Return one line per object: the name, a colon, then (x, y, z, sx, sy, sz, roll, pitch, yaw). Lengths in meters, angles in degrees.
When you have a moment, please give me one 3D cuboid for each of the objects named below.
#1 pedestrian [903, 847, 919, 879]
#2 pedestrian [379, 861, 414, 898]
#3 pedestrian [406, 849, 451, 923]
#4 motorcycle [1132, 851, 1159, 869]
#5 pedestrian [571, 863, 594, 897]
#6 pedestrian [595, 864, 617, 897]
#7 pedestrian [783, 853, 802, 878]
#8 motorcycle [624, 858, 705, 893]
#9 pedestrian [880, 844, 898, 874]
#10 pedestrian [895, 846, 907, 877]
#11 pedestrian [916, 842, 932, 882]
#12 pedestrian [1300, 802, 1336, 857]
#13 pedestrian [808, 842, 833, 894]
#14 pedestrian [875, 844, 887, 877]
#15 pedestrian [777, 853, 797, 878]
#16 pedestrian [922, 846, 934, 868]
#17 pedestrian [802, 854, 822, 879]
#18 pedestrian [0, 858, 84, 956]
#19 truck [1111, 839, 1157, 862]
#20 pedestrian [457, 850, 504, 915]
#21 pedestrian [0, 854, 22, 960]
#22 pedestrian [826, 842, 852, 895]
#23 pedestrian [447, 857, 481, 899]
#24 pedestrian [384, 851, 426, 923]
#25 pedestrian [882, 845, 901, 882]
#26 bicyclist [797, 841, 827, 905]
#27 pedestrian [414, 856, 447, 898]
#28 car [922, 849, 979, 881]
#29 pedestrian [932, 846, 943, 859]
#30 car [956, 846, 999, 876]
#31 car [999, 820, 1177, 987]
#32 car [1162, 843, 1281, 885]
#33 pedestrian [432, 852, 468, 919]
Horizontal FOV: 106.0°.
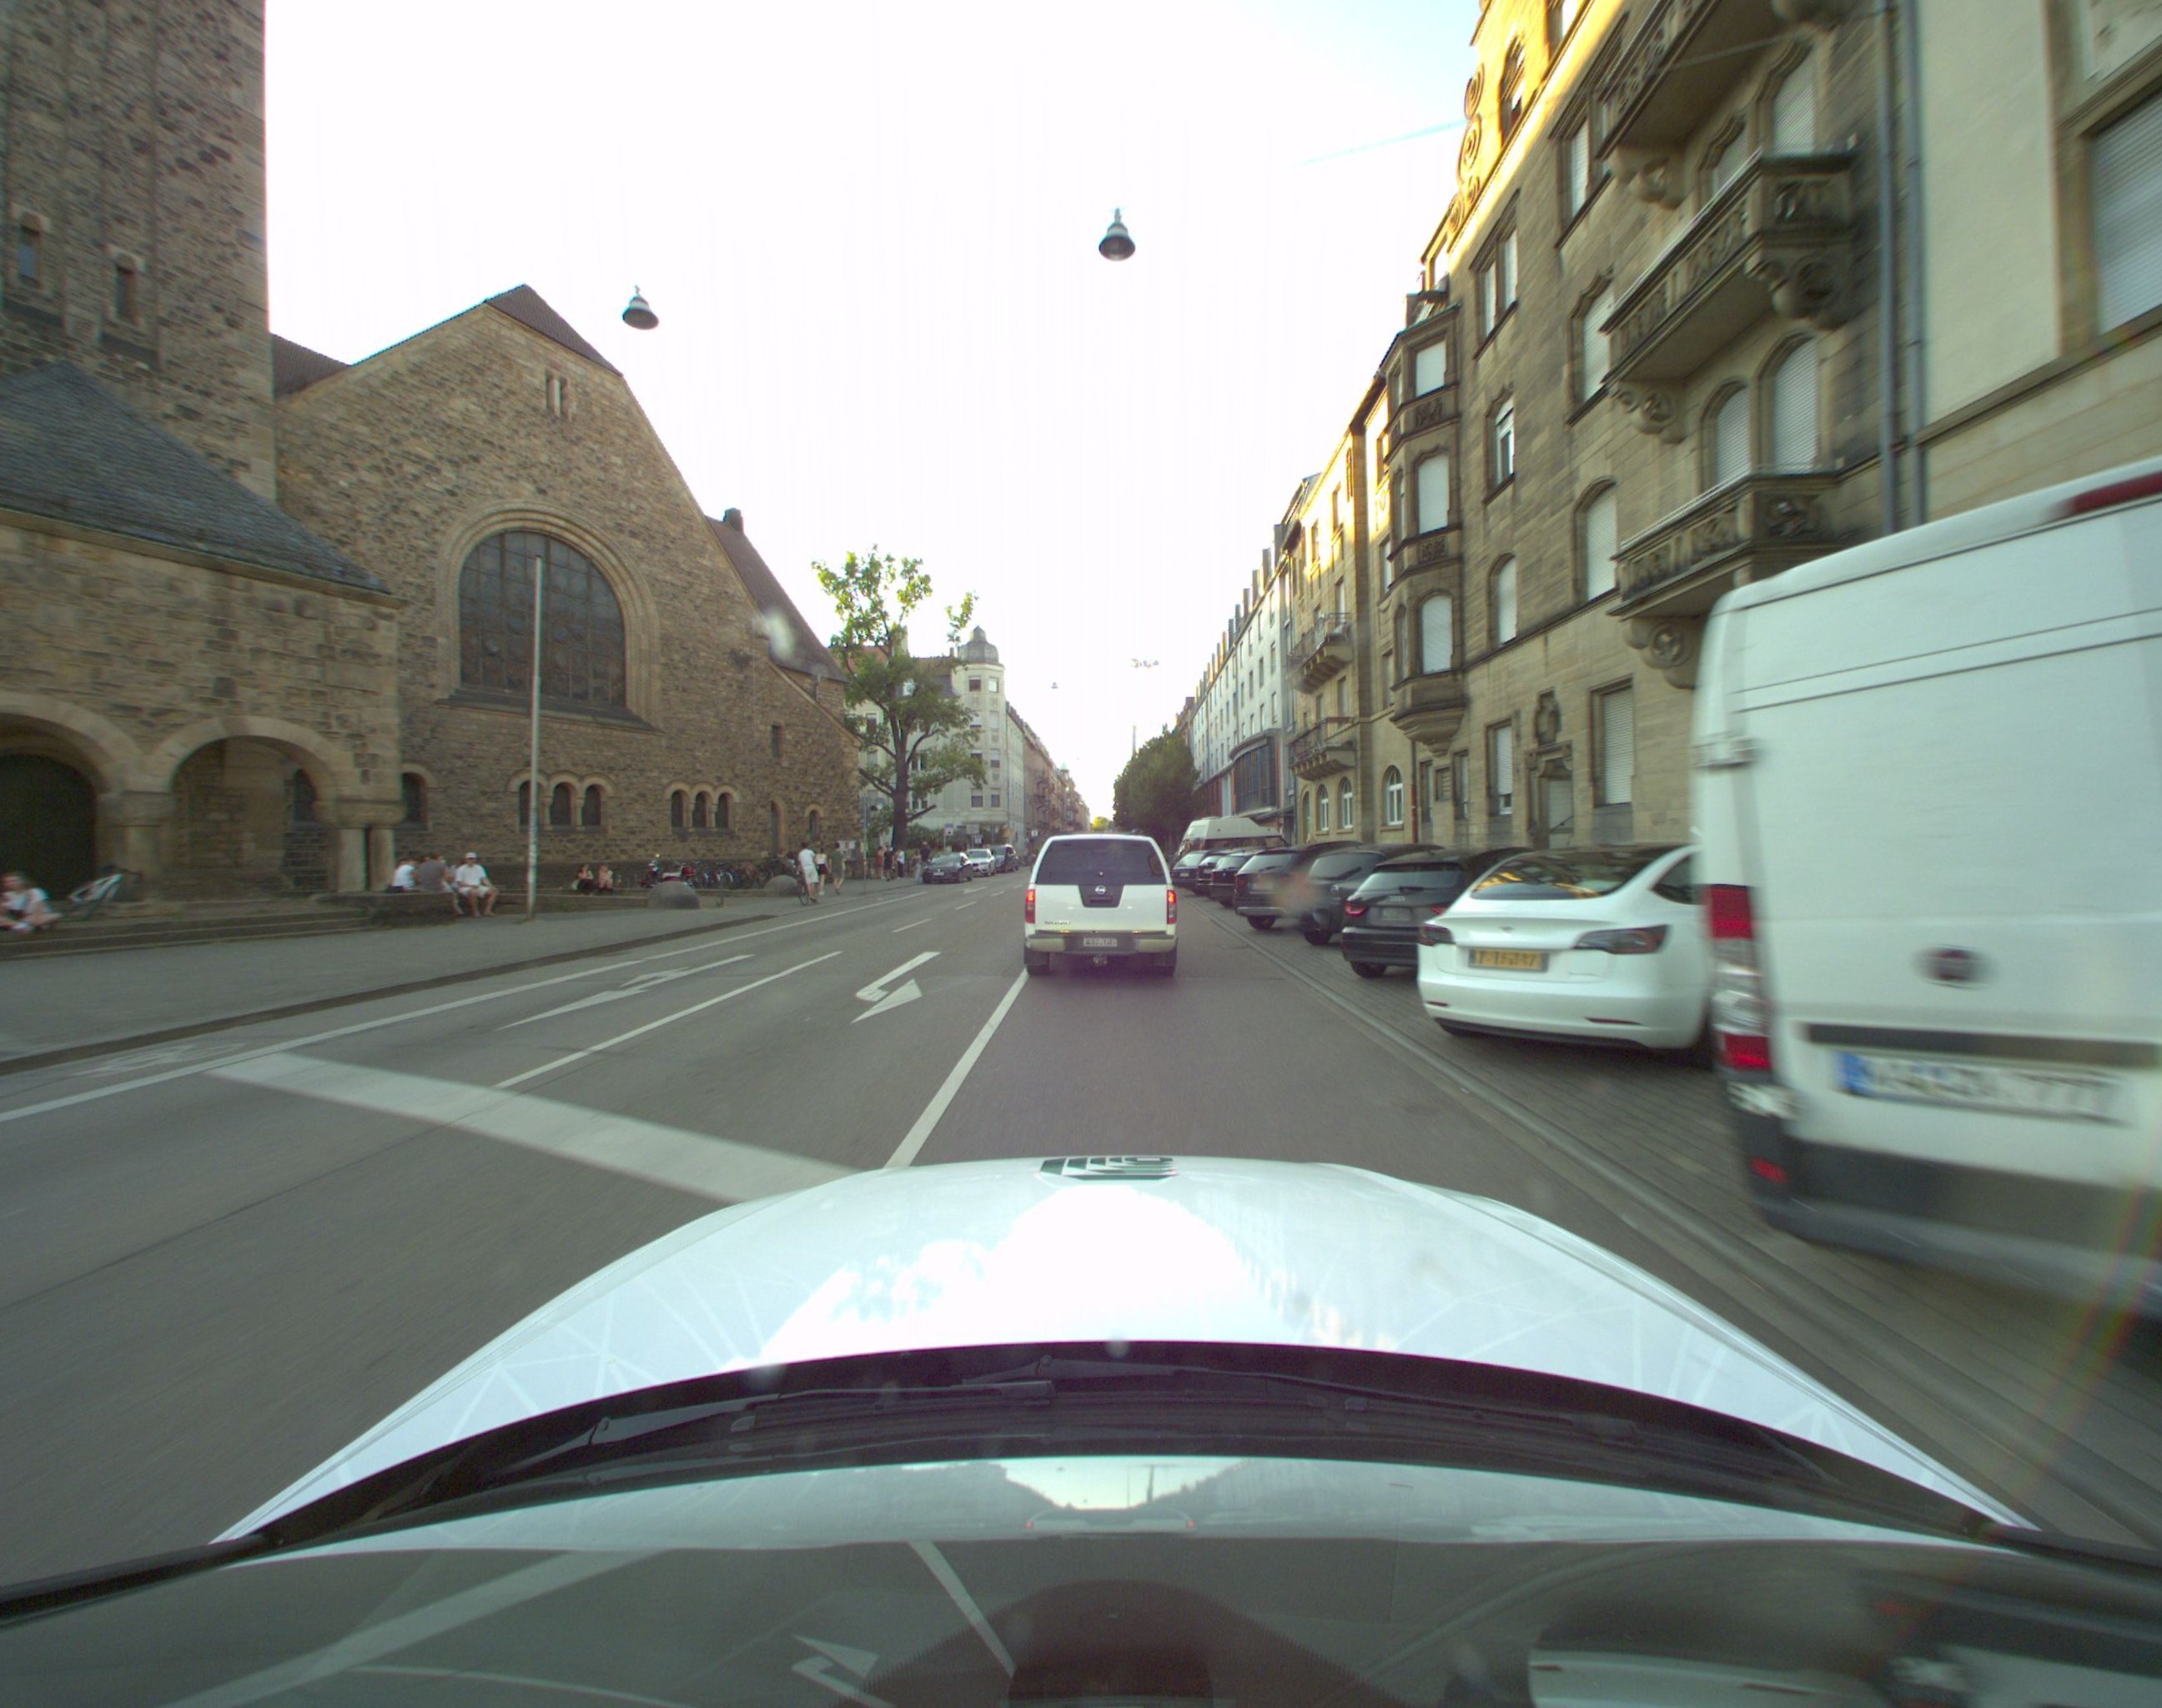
pedestrian: (-8.268, 0.437, 39.622, 0.580, 1.552, 0.839, 0, 0, -1)
pedestrian: (-17.683, 0.645, 21.061, 0.650, 0.916, 0.732, -1, 0, -38)
pedestrian: (-13.058, 0.628, 16.307, 0.543, 1.453, 0.561, -1, 0, 37)
motorcycle: (4.254, 0.381, 53.733, 1.643, 1.101, 0.646, -4, 0, -7)
pedestrian: (-14.972, 0.774, 24.450, 0.563, 0.967, 0.643, -1, 0, -31)
pedestrian: (-14.484, 0.802, 24.818, 0.563, 0.991, 0.689, -1, 0, -31)
pedestrian: (-12.493, 0.494, 35.245, 0.493, 1.048, 0.611, -1, 0, 22)
motorcycle: (-14.283, 0.734, 27.959, 2.403, 1.125, 0.823, 1, 1, 6)
pedestrian: (-10.040, 0.250, 42.579, 0.644, 1.545, 0.589, -1, 0, 25)
pedestrian: (-9.324, 0.380, 42.242, 0.417, 1.622, 0.542, -1, 0, -38)
pedestrian: (-7.660, 0.367, 39.676, 0.580, 1.905, 0.803, -1, 0, -1)
pedestrian: (9.070, -0.943, 31.192, 0.605, 2.010, 0.859, 17, 3, 4)
pedestrian: (-9.326, 0.490, 29.184, 0.571, 1.856, 0.988, -1, 0, -1)
pedestrian: (-10.257, 0.342, 41.813, 0.417, 1.674, 0.542, -1, 0, -38)
pedestrian: (-12.460, 0.485, 34.517, 0.741, 1.048, 0.515, -1, 0, -28)
pedestrian: (-11.932, 0.241, 63.505, 0.704, 1.721, 0.837, -1, 0, 0)
pedestrian: (-11.667, 0.530, 35.336, 0.512, 1.056, 0.703, -1, 0, 19)
pedestrian: (-15.359, 0.754, 11.969, 0.702, 1.374, 0.794, -1, 0, -37)
truck: (7.340, -0.458, 113.118, 6.293, 2.977, 2.266, 0, -3, 3)
pedestrian: (-13.301, 0.621, 18.032, 0.695, 1.406, 0.636, -1, 0, 37)
pedestrian: (-15.203, 0.739, 11.045, 0.622, 1.453, 0.921, -1, 0, 28)
pedestrian: (-8.676, 0.508, 29.223, 0.645, 1.879, 0.891, -1, 0, -1)
pedestrian: (-16.680, 0.636, 22.008, 0.688, 1.094, 1.318, -1, 0, -37)
pedestrian: (-13.623, 0.652, 16.424, 0.397, 1.406, 0.551, -1, 0, 37)
pedestrian: (-9.117, 0.442, 39.216, 0.711, 1.725, 0.692, -1, 0, 3)
bicyclist: (-8.062, 0.563, 24.466, 0.705, 1.880, 0.939, 0, 0, -9)
pedestrian: (-17.294, 0.603, 21.657, 0.650, 1.075, 0.821, -1, 0, -38)
car: (-6.294, 0.507, 39.666, 1.775, 1.435, 4.320, -1, 0, 4)
pedestrian: (-11.188, -0.122, 63.480, 0.704, 0.980, 0.837, -1, 0, 0)
car: (-6.011, 0.375, 47.675, 1.865, 1.592, 4.469, -1, 0, 1)
car: (0.149, 0.523, 11.283, 1.926, 1.794, 4.624, -1, 0, 2)
car: (5.569, 0.353, 32.290, 4.365, 1.502, 1.897, -1, 0, -26)
pedestrian: (-13.557, 0.670, 17.487, 0.541, 1.406, 0.461, -1, 0, 37)
